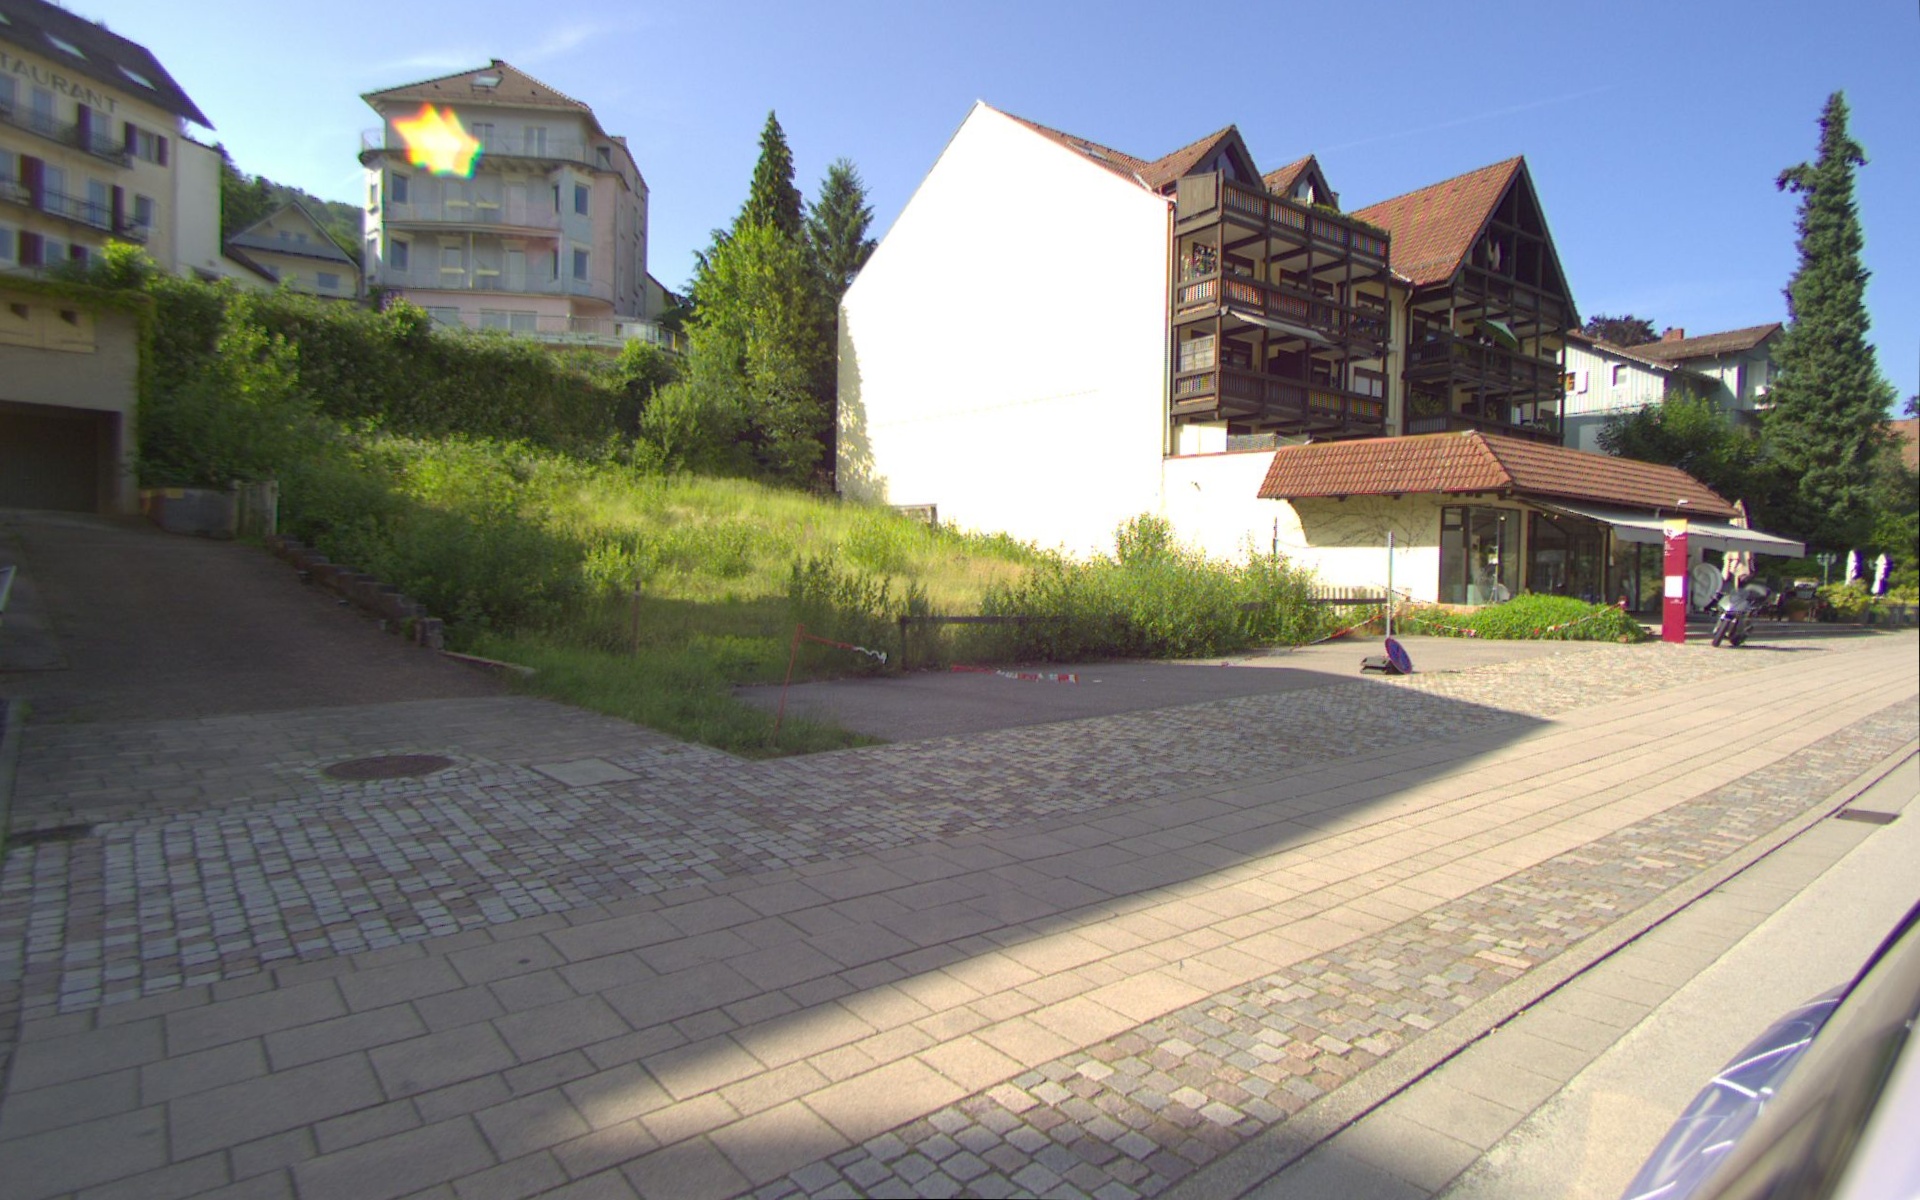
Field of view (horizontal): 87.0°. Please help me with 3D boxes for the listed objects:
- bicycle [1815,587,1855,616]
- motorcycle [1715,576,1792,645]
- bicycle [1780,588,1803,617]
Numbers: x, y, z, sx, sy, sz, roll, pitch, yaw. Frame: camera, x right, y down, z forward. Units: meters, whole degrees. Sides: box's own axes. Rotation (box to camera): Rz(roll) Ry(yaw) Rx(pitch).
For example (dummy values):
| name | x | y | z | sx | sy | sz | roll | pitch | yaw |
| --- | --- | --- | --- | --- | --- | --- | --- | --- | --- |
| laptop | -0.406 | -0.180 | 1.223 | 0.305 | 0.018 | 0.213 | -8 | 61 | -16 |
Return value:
| name | x | y | z | sx | sy | sz | roll | pitch | yaw |
| --- | --- | --- | --- | --- | --- | --- | --- | --- | --- |
| bicycle | 27.074 | 0.038 | 31.300 | 1.583 | 0.874 | 0.398 | 0 | 2 | -29 |
| motorcycle | 16.310 | 0.183 | 20.786 | 2.172 | 1.311 | 0.699 | -1 | 4 | -39 |
| bicycle | 26.217 | 0.065 | 31.922 | 0.395 | 0.852 | 1.597 | 1 | 3 | 34 |
